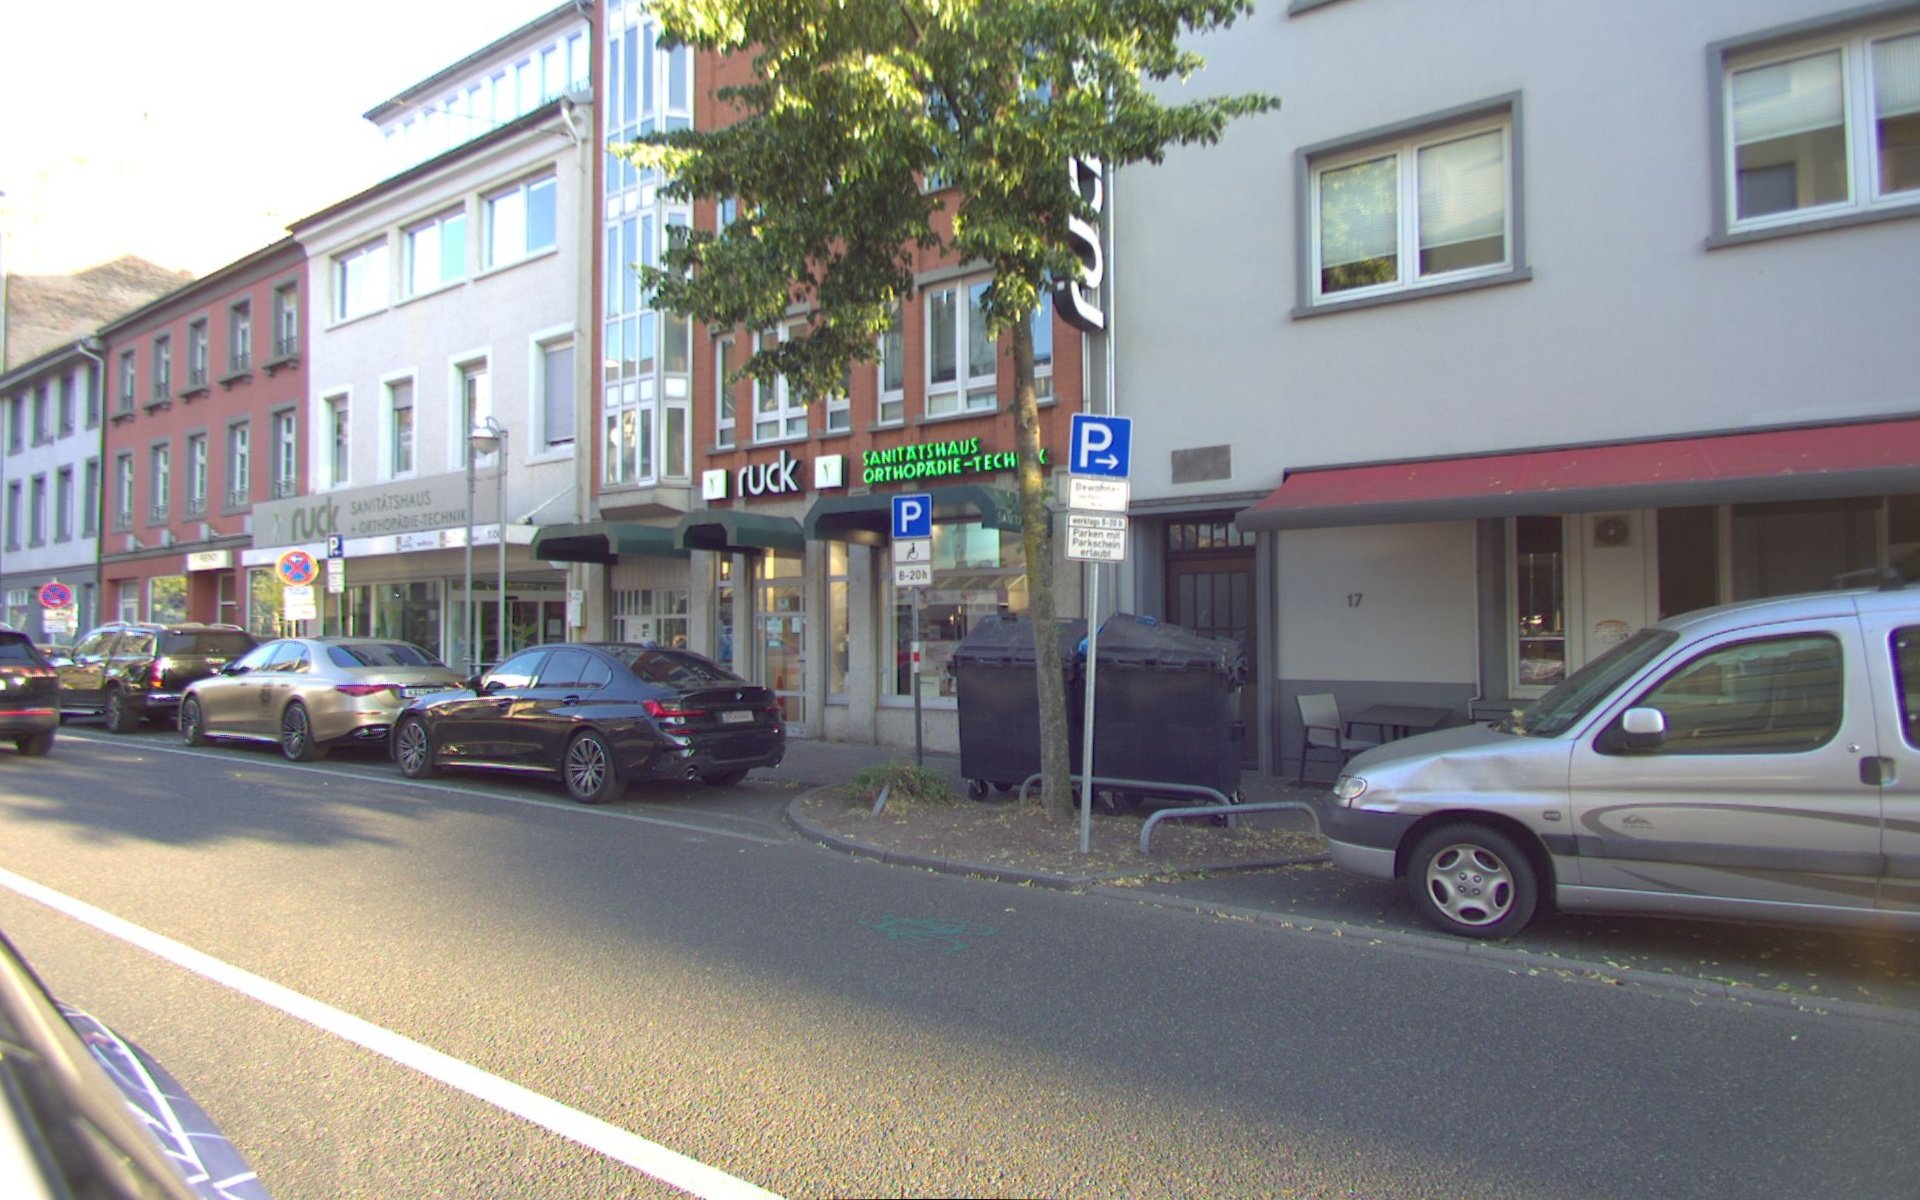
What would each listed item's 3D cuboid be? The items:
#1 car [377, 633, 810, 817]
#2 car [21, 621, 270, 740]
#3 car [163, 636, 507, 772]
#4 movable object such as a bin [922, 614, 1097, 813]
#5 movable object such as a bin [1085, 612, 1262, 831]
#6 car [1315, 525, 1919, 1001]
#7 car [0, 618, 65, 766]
[{"bbox_3d":[-3.793,1.126,10.184,4.528,1.484,1.706,-2,-5,33],"label":"car"},{"bbox_3d":[-14.018,1.325,17.344,4.921,1.793,1.708,-2,-4,31],"label":"car"},{"bbox_3d":[-8.389,1.276,13.425,5.094,1.484,1.977,-2,-4,34],"label":"car"},{"bbox_3d":[0.444,0.962,9.048,1.331,1.632,0.775,-2,-1,30],"label":"movable object such as a bin"},{"bbox_3d":[1.748,0.934,8.272,1.203,1.632,0.775,-2,0,30],"label":"movable object such as a bin"},{"bbox_3d":[3.996,0.699,4.949,4.038,1.902,1.657,-1,-4,31],"label":"car"},{"bbox_3d":[-12.952,1.099,12.508,4.282,1.688,1.716,-2,-4,33],"label":"car"}]
